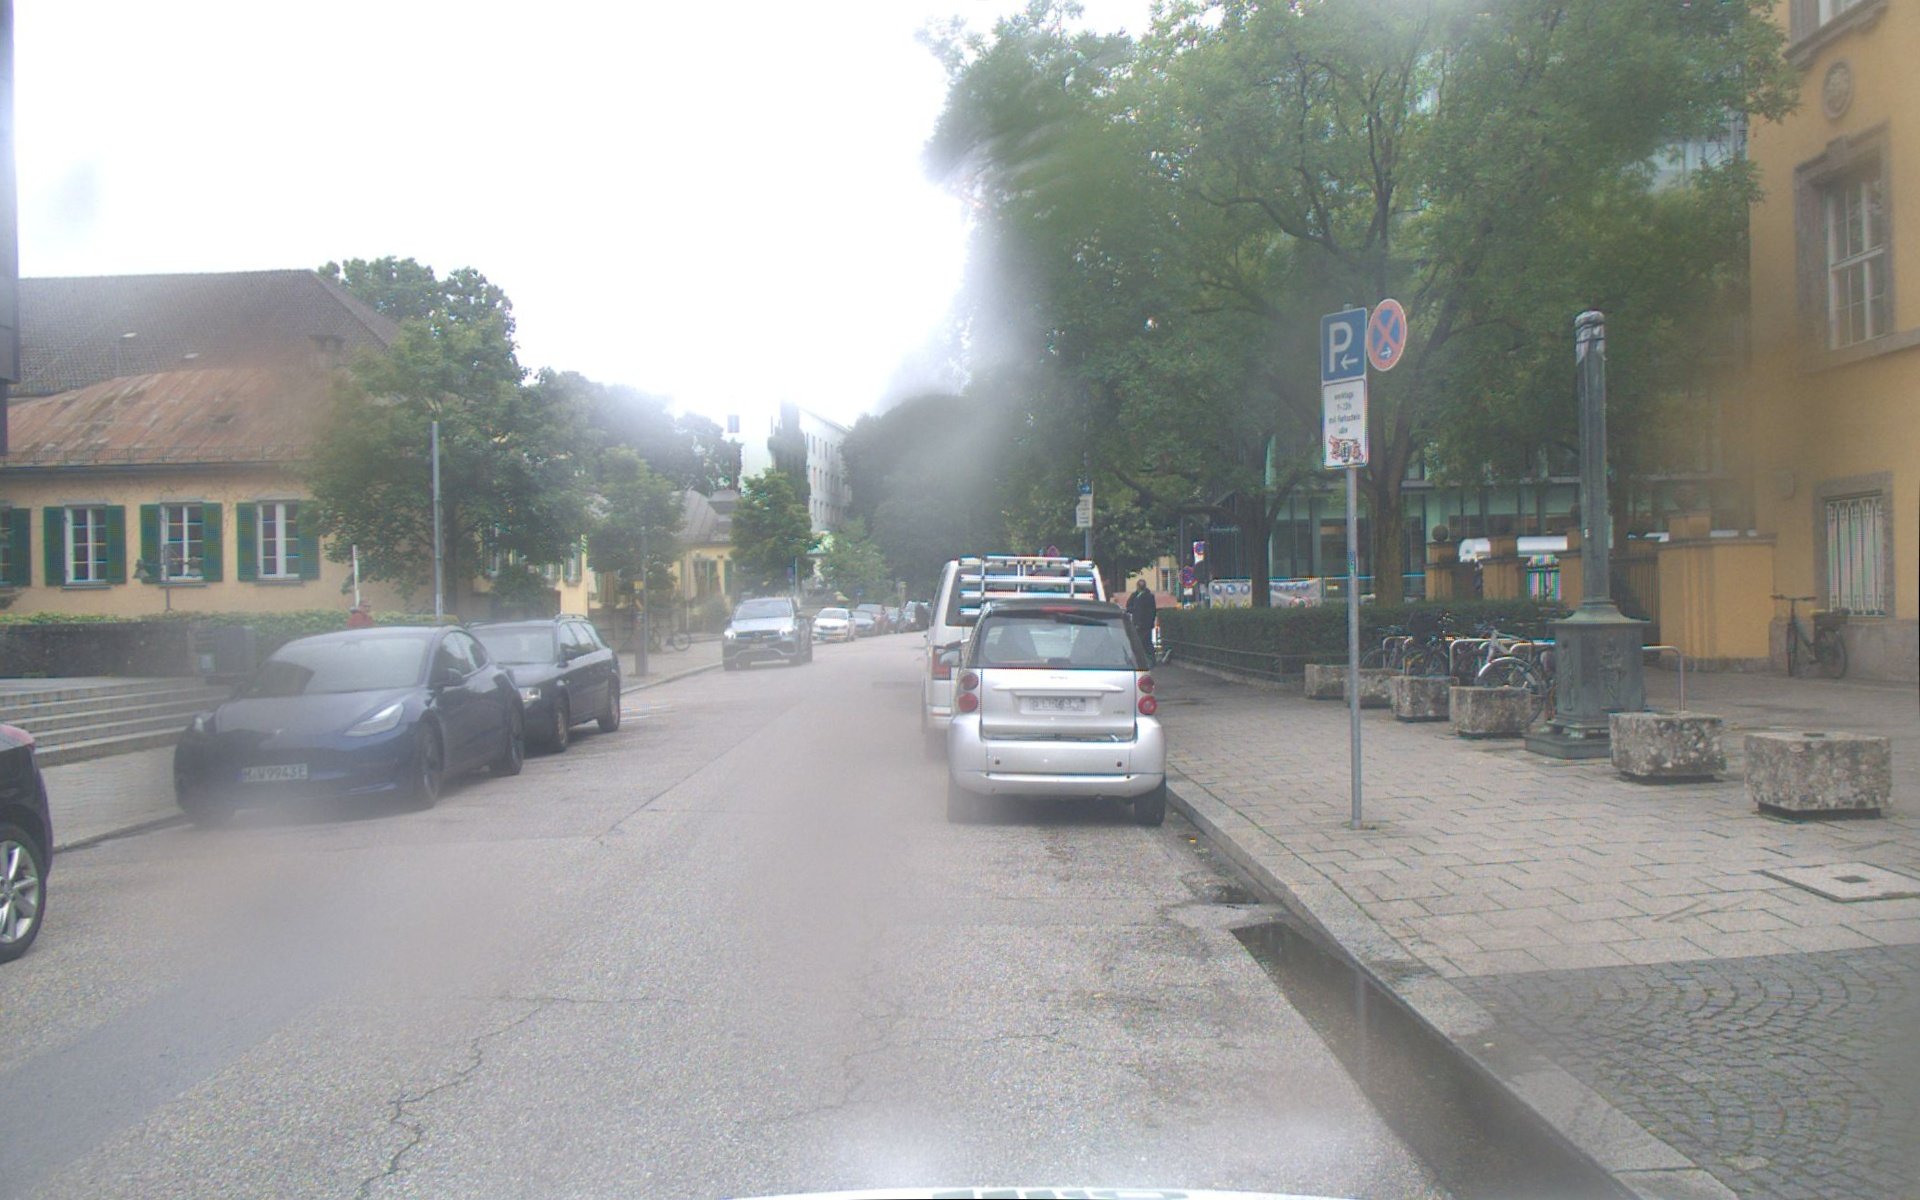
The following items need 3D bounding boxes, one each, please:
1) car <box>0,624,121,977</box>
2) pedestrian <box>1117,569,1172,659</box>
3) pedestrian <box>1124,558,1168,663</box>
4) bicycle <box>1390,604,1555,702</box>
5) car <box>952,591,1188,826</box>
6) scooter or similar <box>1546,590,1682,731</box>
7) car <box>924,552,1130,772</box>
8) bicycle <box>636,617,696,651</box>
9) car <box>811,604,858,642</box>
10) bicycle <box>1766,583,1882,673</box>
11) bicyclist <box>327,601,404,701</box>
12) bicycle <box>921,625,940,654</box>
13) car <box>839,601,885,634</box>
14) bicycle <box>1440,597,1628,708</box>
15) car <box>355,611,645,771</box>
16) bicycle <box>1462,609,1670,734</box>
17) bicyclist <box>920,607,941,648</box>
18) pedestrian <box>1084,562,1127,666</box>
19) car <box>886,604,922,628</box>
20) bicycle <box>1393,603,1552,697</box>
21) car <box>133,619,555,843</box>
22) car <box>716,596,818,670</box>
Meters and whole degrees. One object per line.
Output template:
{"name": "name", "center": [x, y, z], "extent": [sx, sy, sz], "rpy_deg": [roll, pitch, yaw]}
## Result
{"name": "car", "center": [-4.989, 0.917, 5.907], "extent": [1.704, 1.486, 4.237], "rpy_deg": [-4, 0, 1]}
{"name": "pedestrian", "center": [4.081, 0.295, 36.536], "extent": [0.729, 1.941, 1.052], "rpy_deg": [-2, 0, 35]}
{"name": "pedestrian", "center": [3.966, 0.224, 35.322], "extent": [0.727, 2.172, 1.055], "rpy_deg": [-2, 0, -1]}
{"name": "bicycle", "center": [6.447, 0.662, 20.851], "extent": [1.892, 1.133, 0.471], "rpy_deg": [-3, 0, 1]}
{"name": "car", "center": [0.736, 0.733, 12.643], "extent": [1.573, 1.573, 2.933], "rpy_deg": [1, 0, -1]}
{"name": "scooter or similar", "center": [6.041, 0.553, 15.291], "extent": [0.995, 1.243, 0.534], "rpy_deg": [-3, 0, 44]}
{"name": "car", "center": [0.552, 0.572, 17.741], "extent": [1.808, 1.967, 5.271], "rpy_deg": [1, 0, -2]}
{"name": "bicycle", "center": [-9.938, 1.134, 55.936], "extent": [1.890, 1.118, 0.615], "rpy_deg": [1, 0, 2]}
{"name": "car", "center": [-5.693, 1.027, 75.393], "extent": [1.697, 1.609, 3.788], "rpy_deg": [1, 0, 2]}
{"name": "bicycle", "center": [11.970, 0.368, 22.974], "extent": [0.531, 1.174, 1.901], "rpy_deg": [-2, 0, -2]}
{"name": "bicyclist", "center": [-9.399, 0.804, 26.136], "extent": [1.078, 1.524, 0.668], "rpy_deg": [-1, -2, -26]}
{"name": "bicycle", "center": [-1.037, 1.371, 58.077], "extent": [0.613, 0.971, 1.860], "rpy_deg": [1, -1, 1]}
{"name": "car", "center": [-5.187, 0.920, 87.989], "extent": [1.952, 1.677, 4.656], "rpy_deg": [-1, 0, 2]}
{"name": "bicycle", "center": [6.413, 0.582, 18.533], "extent": [1.892, 1.133, 0.471], "rpy_deg": [-3, 0, 1]}
{"name": "car", "center": [-5.200, 0.955, 19.464], "extent": [1.953, 1.516, 4.883], "rpy_deg": [-3, 0, 0]}
{"name": "bicycle", "center": [6.064, 0.703, 16.582], "extent": [1.893, 1.133, 0.471], "rpy_deg": [-3, 0, -4]}
{"name": "bicyclist", "center": [-1.023, 0.970, 58.091], "extent": [0.690, 1.418, 0.868], "rpy_deg": [1, -1, 0]}
{"name": "pedestrian", "center": [3.135, 0.294, 35.655], "extent": [0.727, 2.172, 1.055], "rpy_deg": [-2, 0, -1]}
{"name": "car", "center": [-3.742, 1.068, 110.939], "extent": [1.952, 1.512, 4.002], "rpy_deg": [-2, 0, 4]}
{"name": "bicycle", "center": [6.699, 0.647, 21.645], "extent": [1.892, 1.133, 0.471], "rpy_deg": [-3, 0, 1]}
{"name": "car", "center": [-4.974, 0.953, 14.206], "extent": [1.884, 1.464, 4.915], "rpy_deg": [-3, -1, -2]}
{"name": "car", "center": [-4.913, 0.802, 42.660], "extent": [1.983, 1.719, 4.677], "rpy_deg": [-2, 0, 0]}
